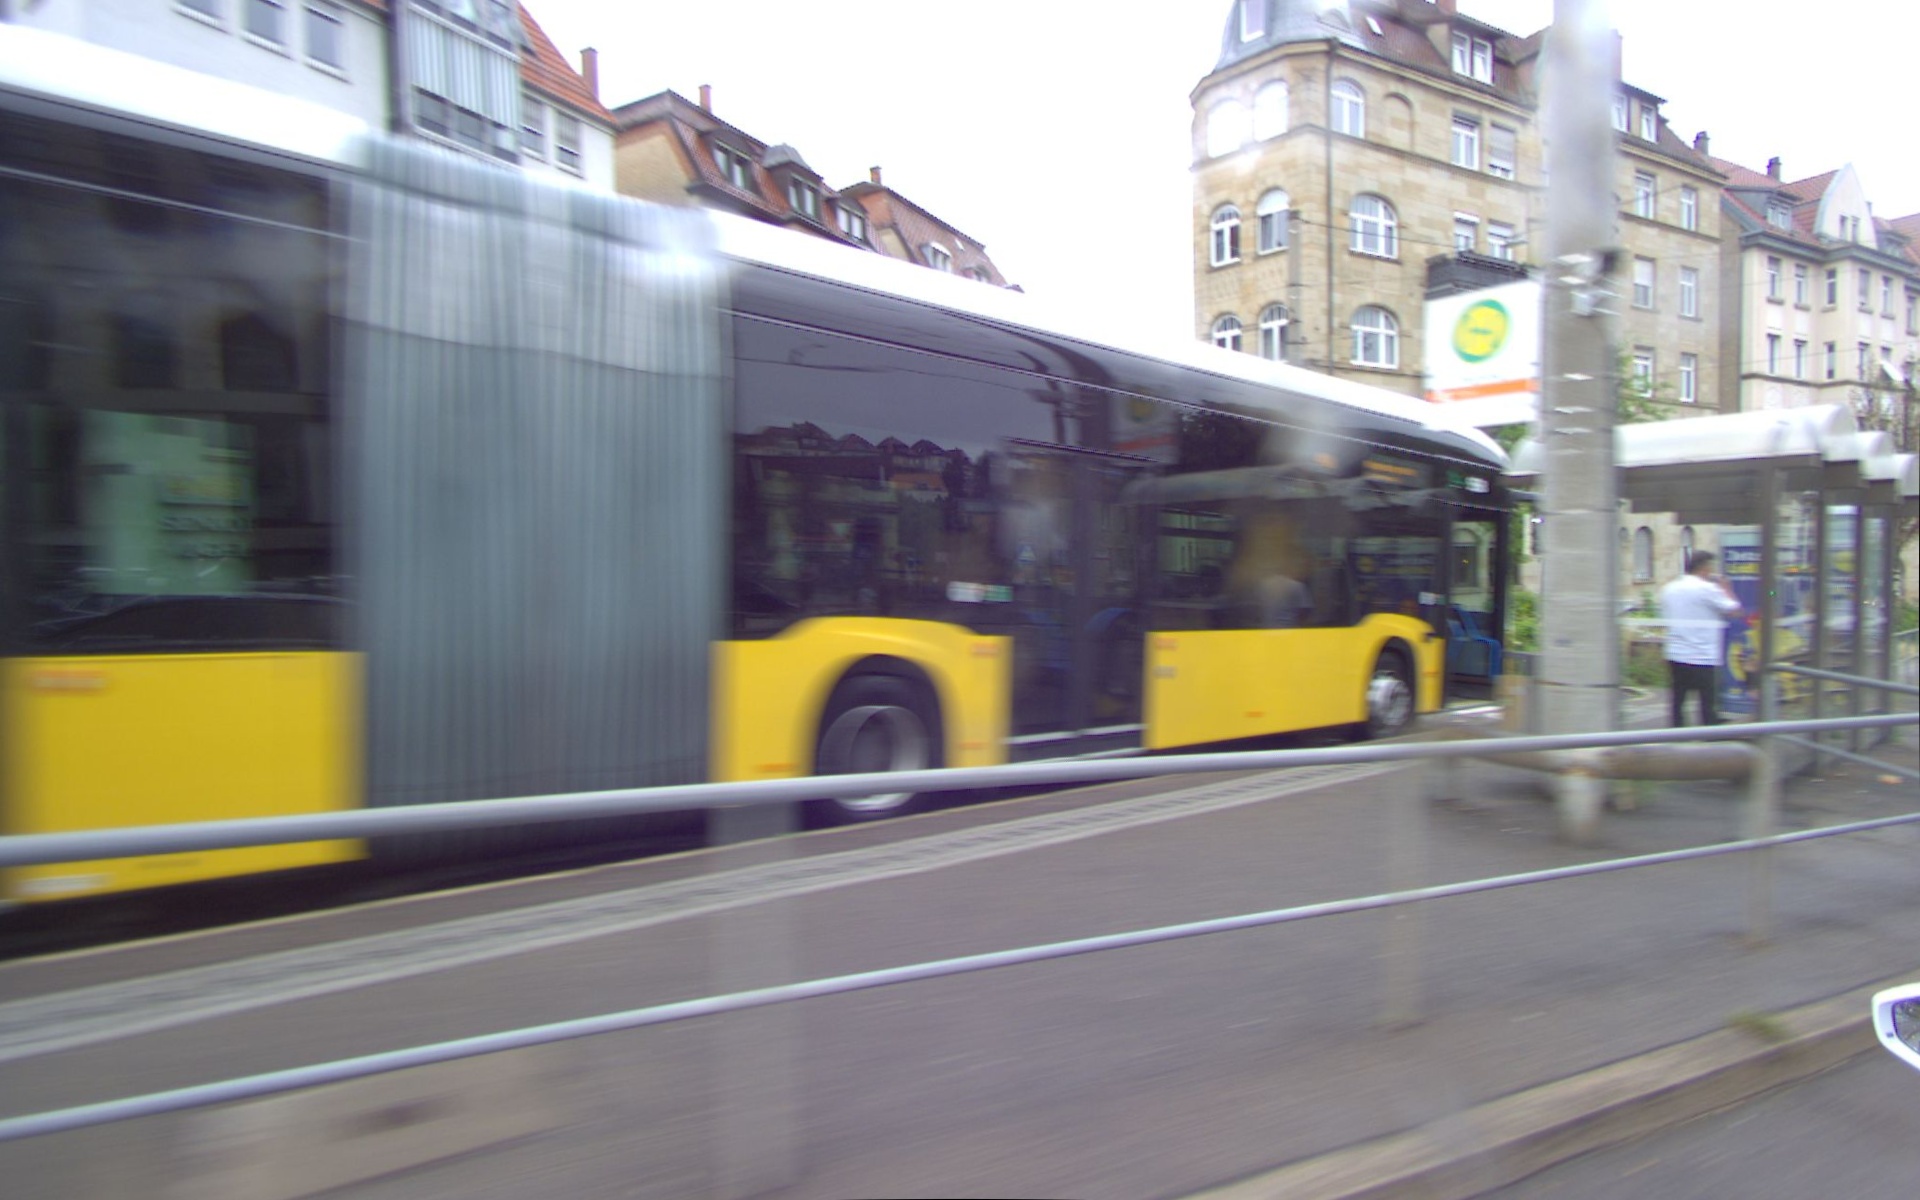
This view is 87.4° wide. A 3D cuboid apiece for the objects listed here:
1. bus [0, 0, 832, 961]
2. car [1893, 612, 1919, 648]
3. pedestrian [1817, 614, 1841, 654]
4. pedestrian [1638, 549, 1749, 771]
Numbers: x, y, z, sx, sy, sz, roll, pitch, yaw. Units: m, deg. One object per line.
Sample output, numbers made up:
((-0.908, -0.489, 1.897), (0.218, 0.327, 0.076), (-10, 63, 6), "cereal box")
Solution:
((-5.014, -0.568, 3.575), (9.028, 3.515, 2.570), (1, -1, -39), "bus")
((44.527, 1.456, 45.550), (4.479, 1.553, 1.984), (3, 1, -30), "car")
((33.768, 1.325, 39.029), (0.613, 1.552, 0.518), (1, 0, -29), "pedestrian")
((6.130, 0.474, 8.400), (0.539, 1.775, 0.571), (1, 2, -41), "pedestrian")
